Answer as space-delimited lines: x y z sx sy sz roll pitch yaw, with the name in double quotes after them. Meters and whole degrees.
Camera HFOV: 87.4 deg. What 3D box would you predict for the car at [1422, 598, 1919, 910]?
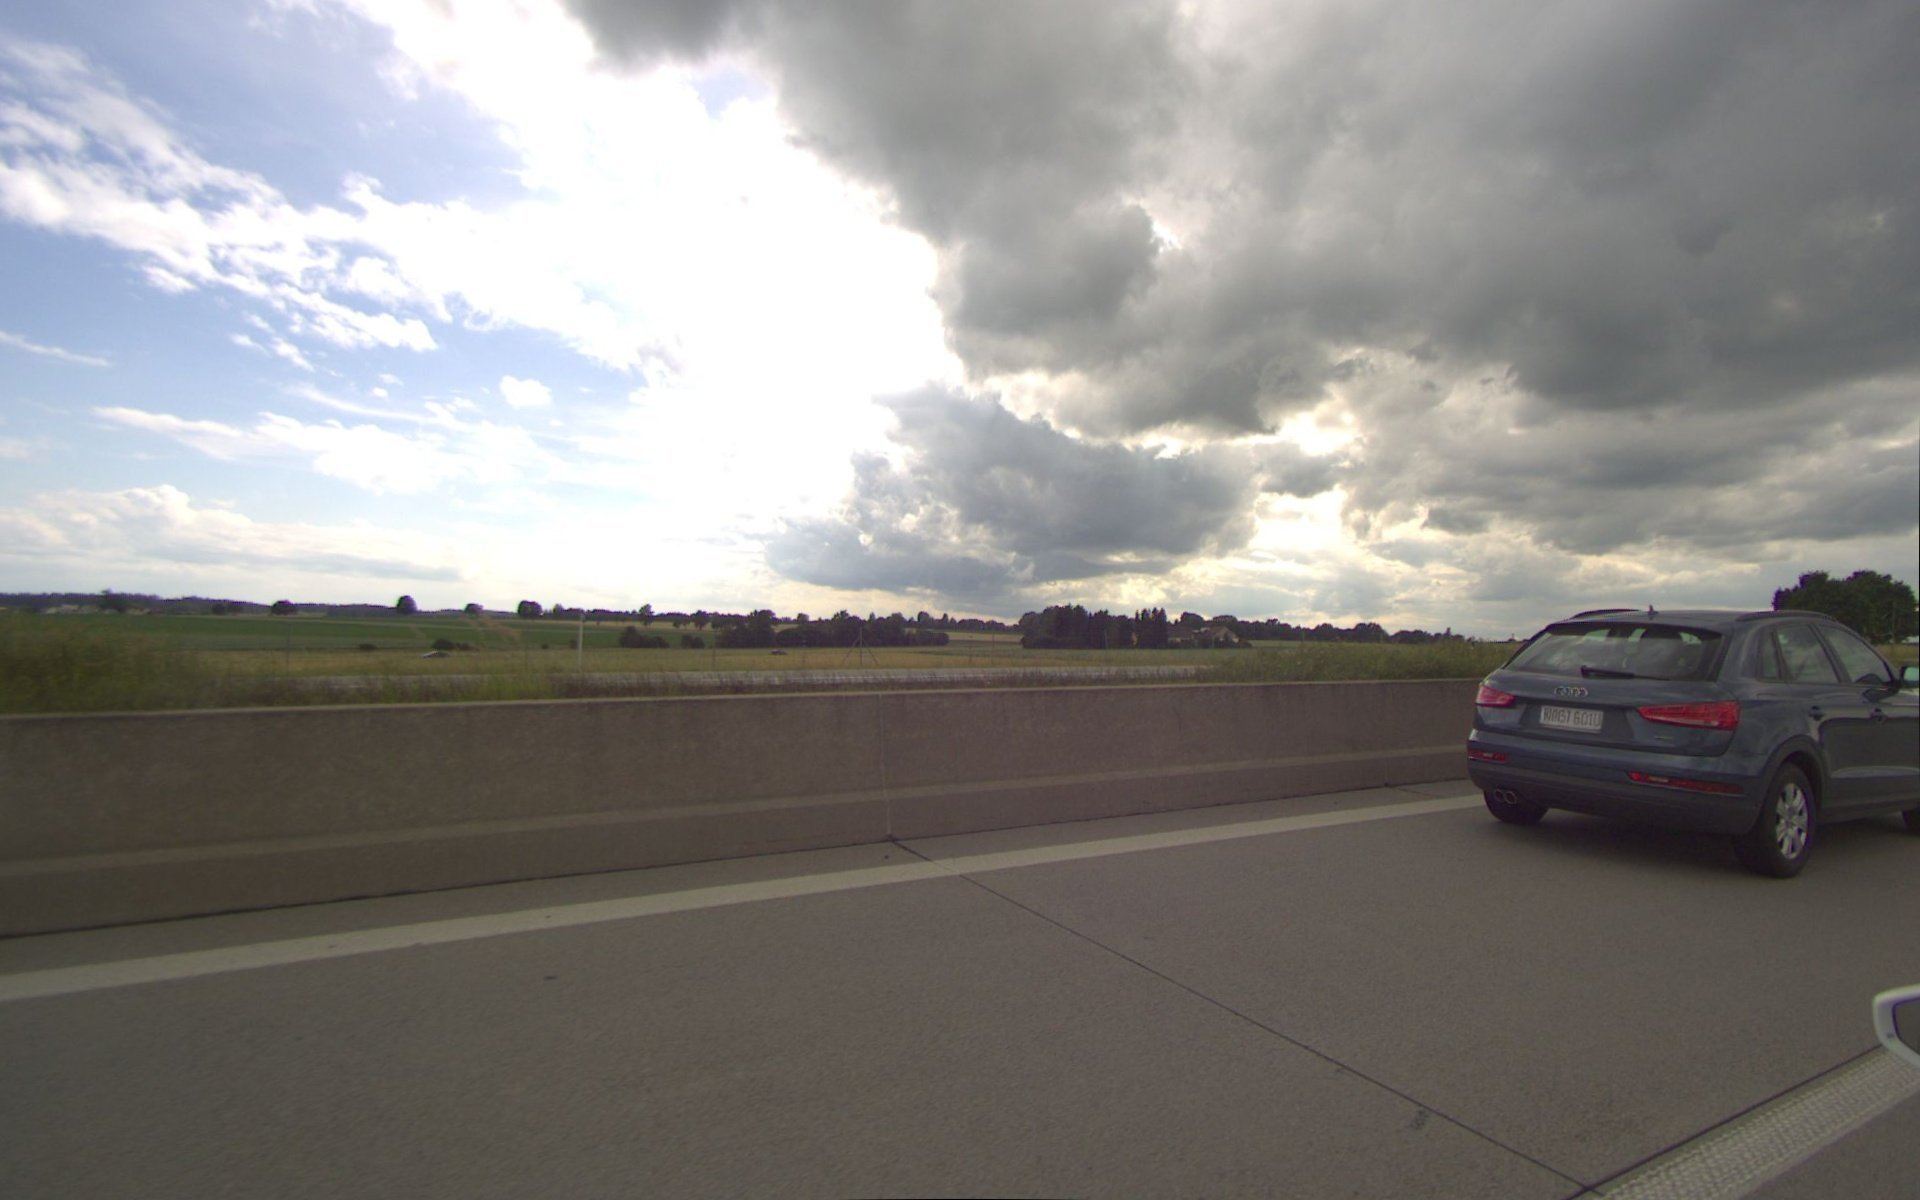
5.754 0.868 7.400 5.101 1.617 1.782 2 0 -33 "car"
